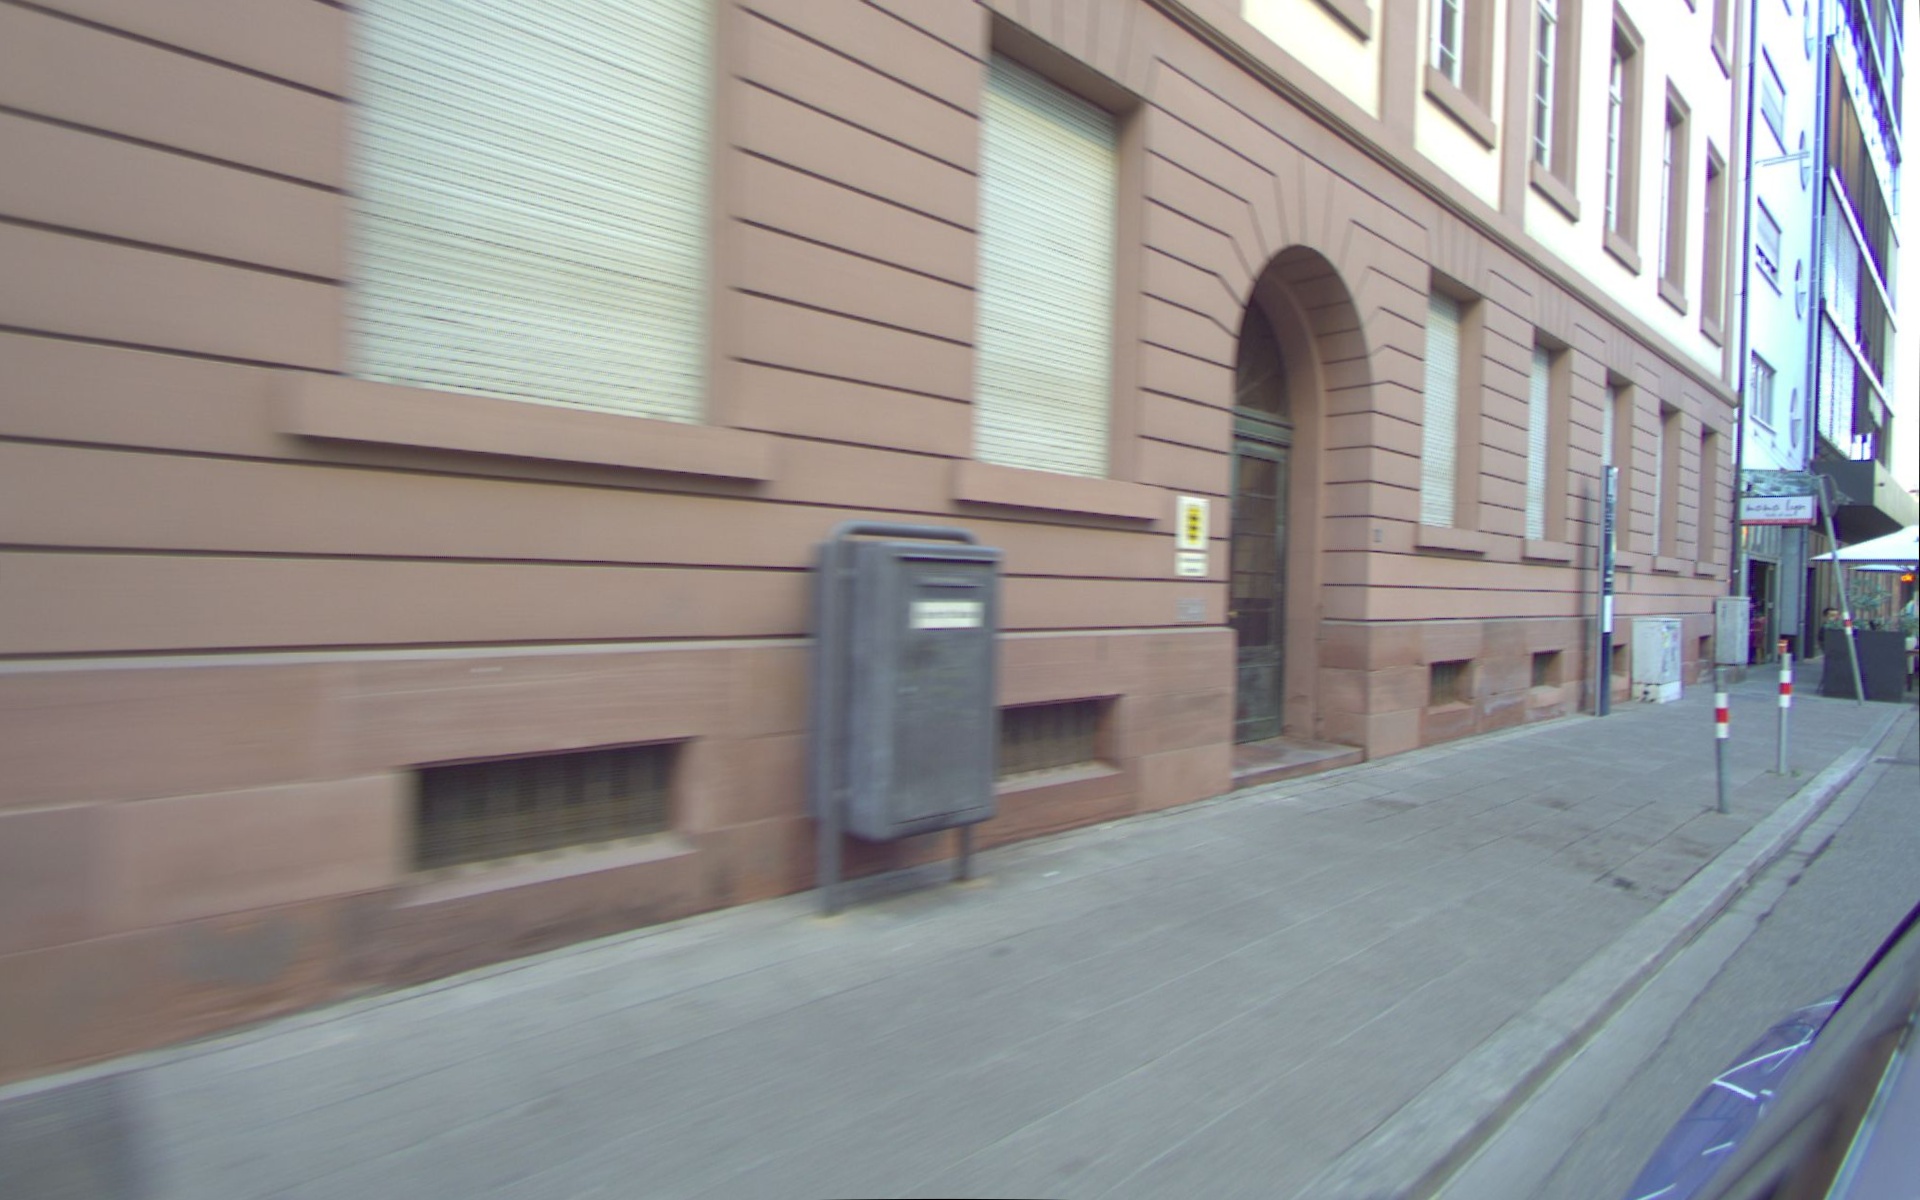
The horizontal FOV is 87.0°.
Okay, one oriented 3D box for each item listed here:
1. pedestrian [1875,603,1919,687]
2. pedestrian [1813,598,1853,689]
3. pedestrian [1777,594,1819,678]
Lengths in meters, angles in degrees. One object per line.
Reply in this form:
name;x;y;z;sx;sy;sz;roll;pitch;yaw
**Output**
pedestrian;16.833;0.780;18.115;0.853;1.437;0.575;1;1;-42
pedestrian;13.095;0.644;15.185;0.360;1.322;0.489;2;1;33
pedestrian;18.504;0.776;22.346;0.638;1.794;0.593;2;1;42
